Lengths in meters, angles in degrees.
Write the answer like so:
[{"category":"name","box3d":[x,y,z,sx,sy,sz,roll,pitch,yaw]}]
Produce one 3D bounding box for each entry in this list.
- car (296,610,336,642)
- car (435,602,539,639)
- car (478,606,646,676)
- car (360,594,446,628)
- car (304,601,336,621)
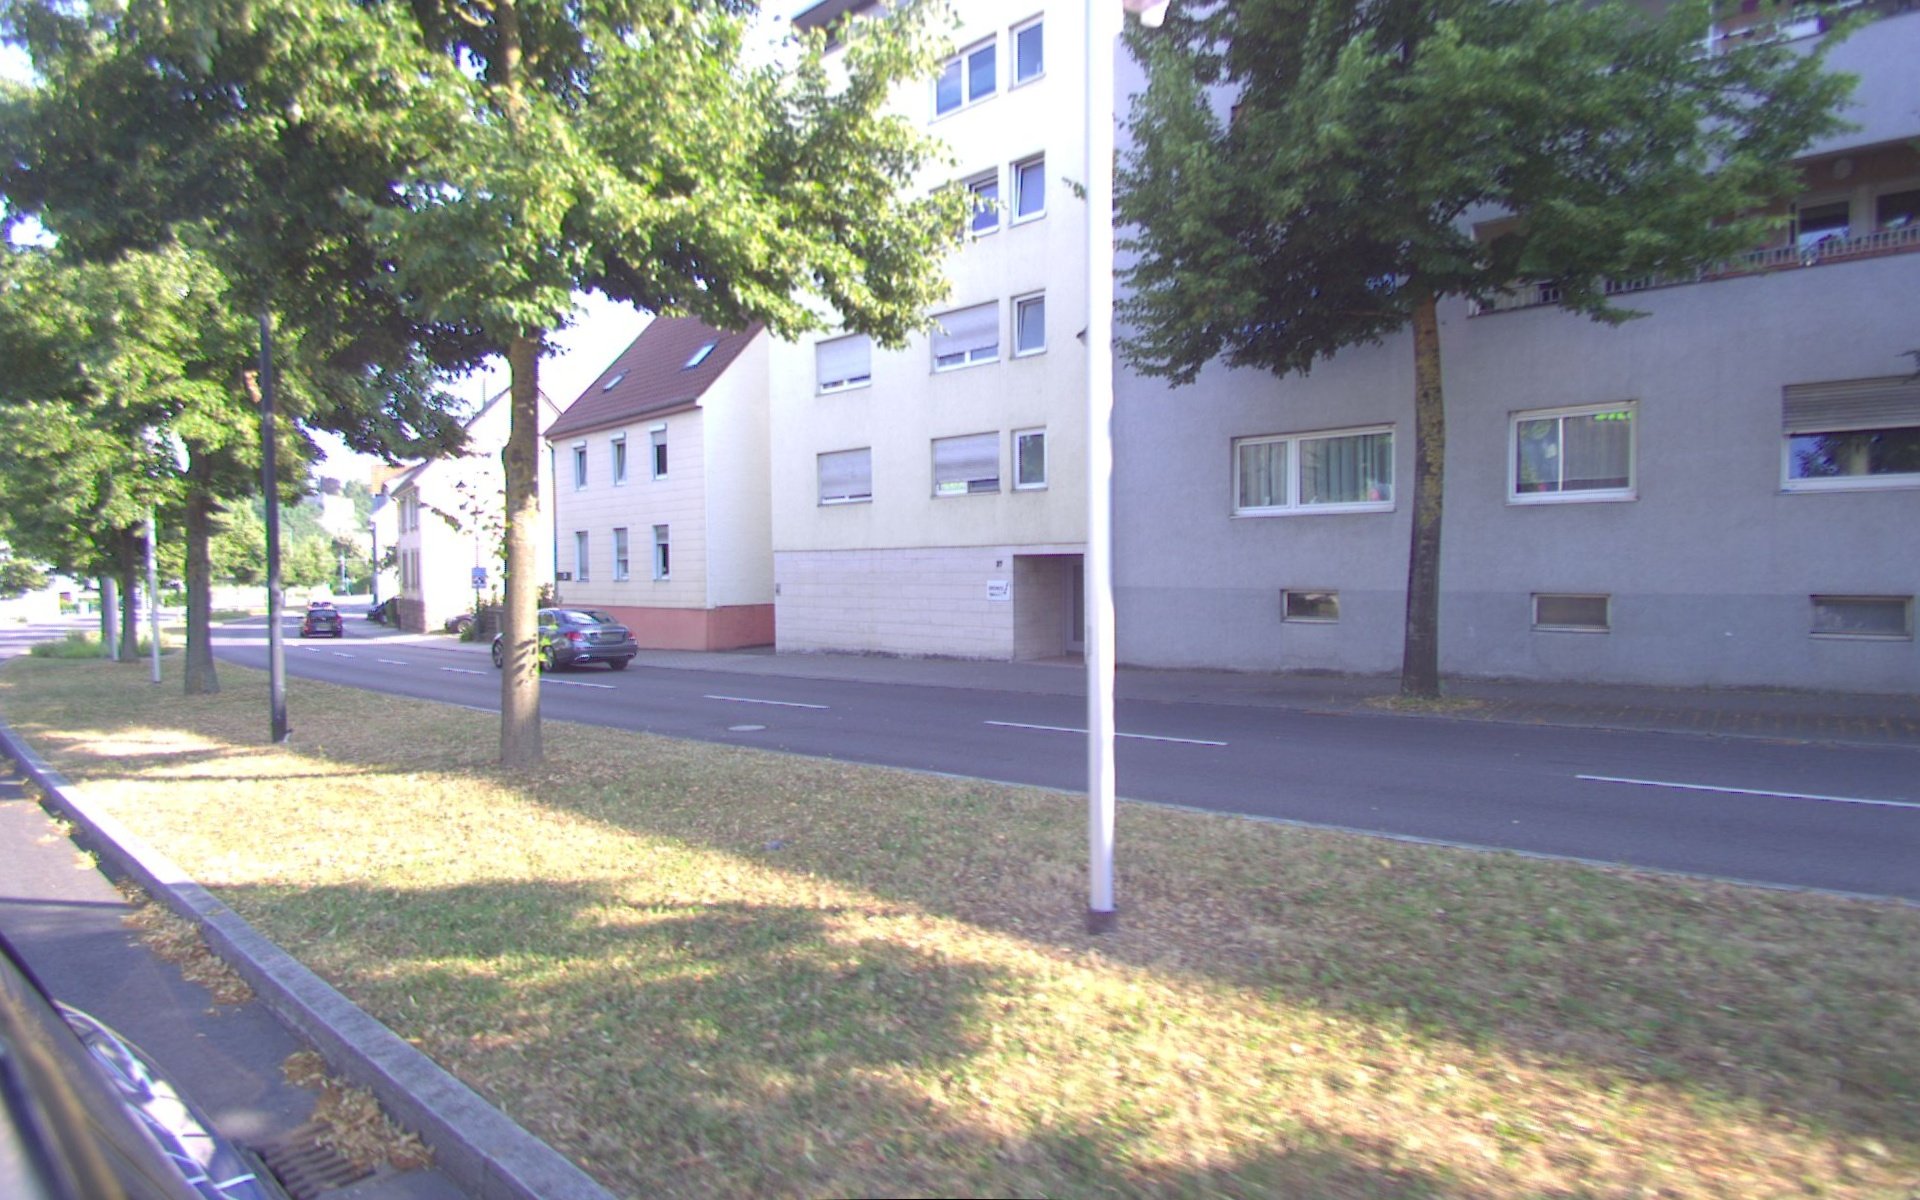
[{"category":"car","box3d":[-31.807,1.240,50.080,1.583,1.497,3.795,0,0,-31]},{"category":"car","box3d":[-22.070,0.907,47.302,4.285,1.497,2.018,-2,1,-26]},{"category":"car","box3d":[-9.536,0.895,24.021,4.997,1.497,1.832,-1,0,44]},{"category":"car","box3d":[-36.530,0.676,66.442,4.758,1.891,2.006,-4,2,-30]},{"category":"car","box3d":[-49.718,0.864,78.669,1.913,1.497,4.338,0,0,-30]}]
